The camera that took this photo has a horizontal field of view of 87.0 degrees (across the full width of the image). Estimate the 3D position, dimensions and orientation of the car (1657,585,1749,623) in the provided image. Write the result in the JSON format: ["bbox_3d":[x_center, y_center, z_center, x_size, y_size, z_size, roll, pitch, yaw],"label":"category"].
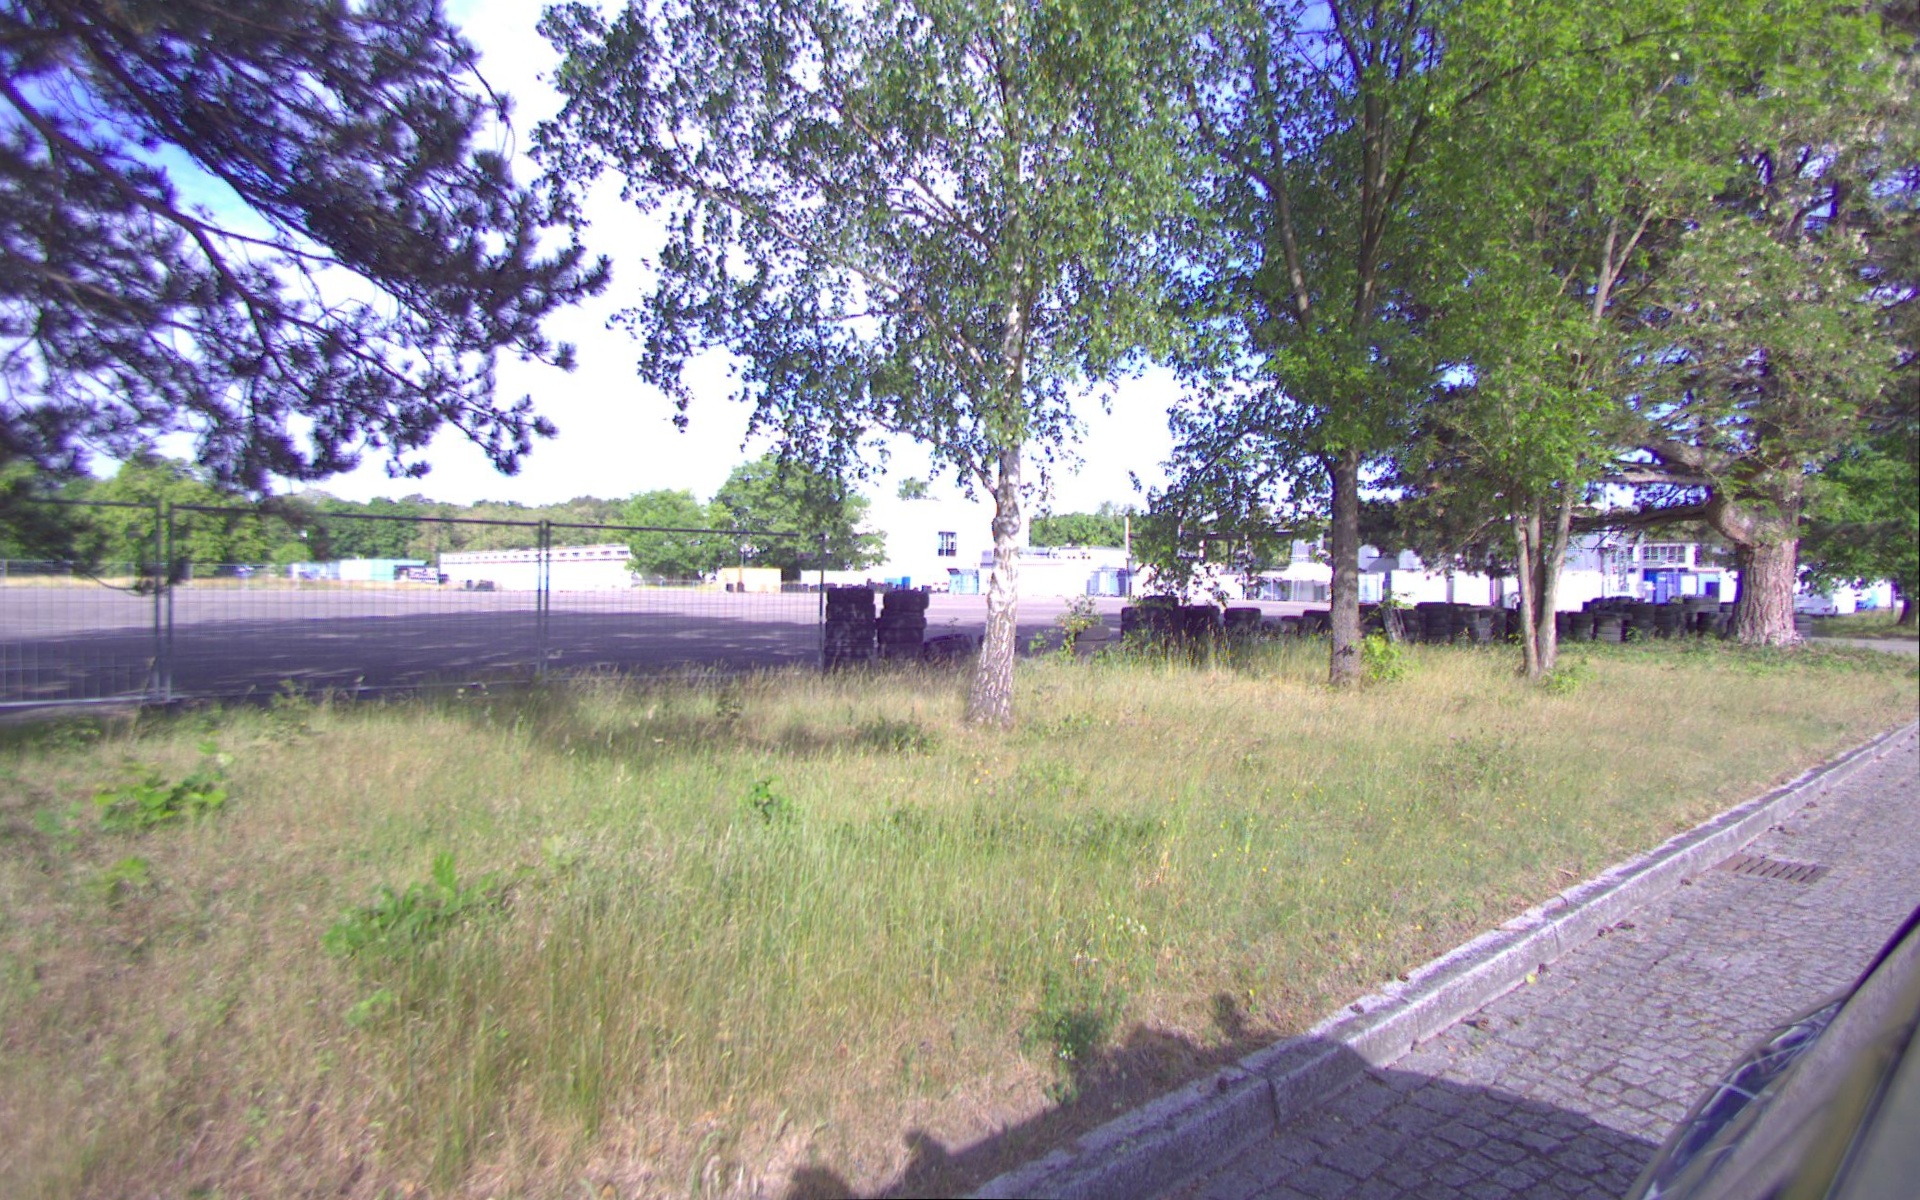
[{"bbox_3d":[30.759,0.146,41.870,3.923,1.467,1.849,0,1,-34],"label":"car"}]
